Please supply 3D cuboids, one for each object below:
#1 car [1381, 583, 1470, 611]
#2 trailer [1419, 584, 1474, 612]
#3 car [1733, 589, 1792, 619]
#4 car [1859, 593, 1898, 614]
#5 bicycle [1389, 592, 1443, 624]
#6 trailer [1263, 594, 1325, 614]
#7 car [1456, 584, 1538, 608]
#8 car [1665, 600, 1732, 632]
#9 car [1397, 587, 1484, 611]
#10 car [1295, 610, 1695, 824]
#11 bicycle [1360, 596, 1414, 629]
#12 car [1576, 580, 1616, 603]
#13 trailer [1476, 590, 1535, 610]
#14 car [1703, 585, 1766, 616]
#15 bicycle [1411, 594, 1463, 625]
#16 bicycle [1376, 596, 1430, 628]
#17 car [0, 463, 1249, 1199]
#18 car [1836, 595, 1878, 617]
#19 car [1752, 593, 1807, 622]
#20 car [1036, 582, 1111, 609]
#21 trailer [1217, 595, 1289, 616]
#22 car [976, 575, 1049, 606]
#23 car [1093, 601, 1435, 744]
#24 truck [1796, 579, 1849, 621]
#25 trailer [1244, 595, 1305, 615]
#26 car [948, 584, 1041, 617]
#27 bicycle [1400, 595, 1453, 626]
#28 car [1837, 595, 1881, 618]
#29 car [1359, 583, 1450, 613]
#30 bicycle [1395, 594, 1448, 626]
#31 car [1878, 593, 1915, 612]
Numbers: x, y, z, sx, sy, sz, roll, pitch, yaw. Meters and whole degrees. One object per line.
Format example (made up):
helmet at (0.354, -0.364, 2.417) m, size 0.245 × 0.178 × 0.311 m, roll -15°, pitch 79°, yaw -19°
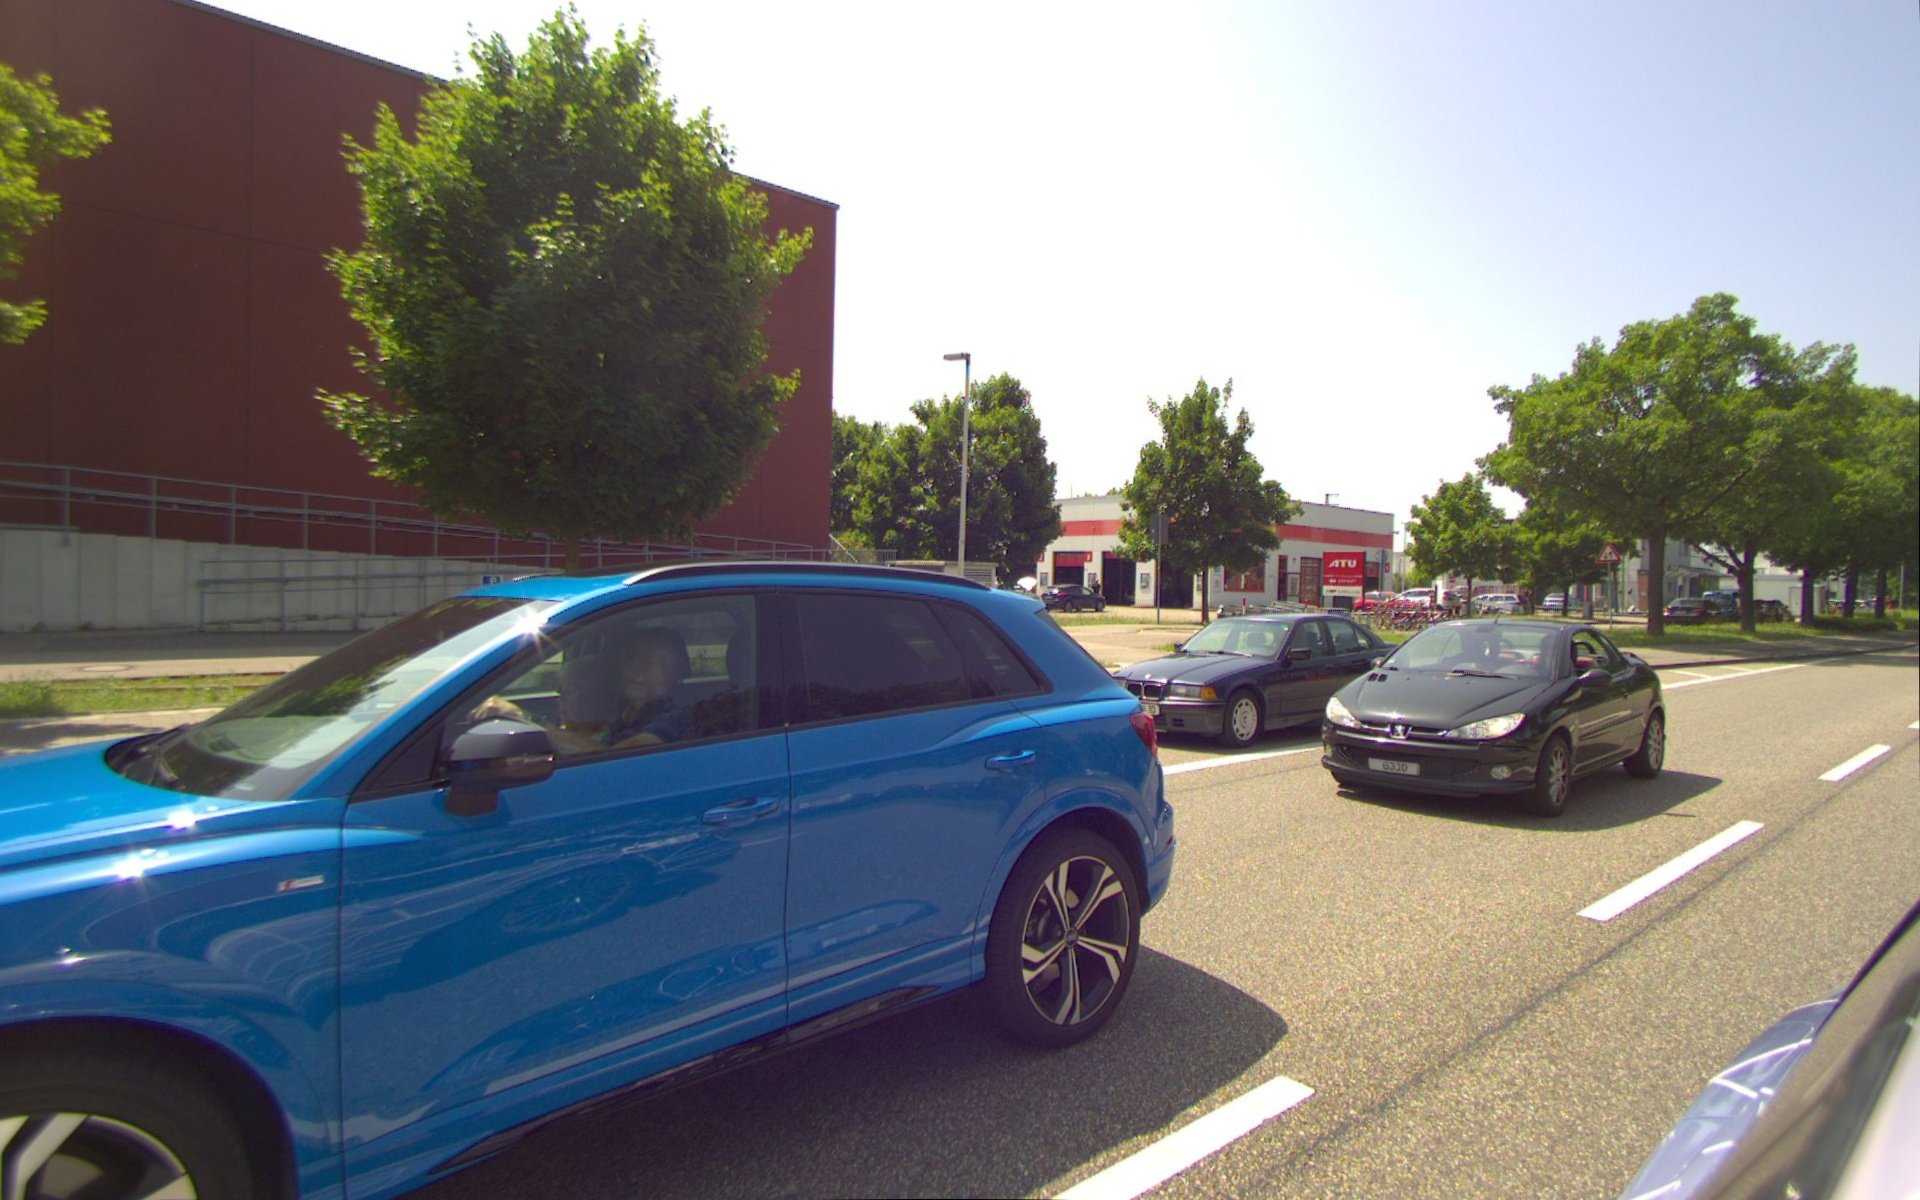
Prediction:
car at (25.012, -0.177, 54.462) m, size 1.718 × 1.419 × 3.992 m, roll 0°, pitch 1°, yaw -43°
trailer at (29.133, -0.121, 60.647) m, size 1.391 × 1.546 × 2.639 m, roll 1°, pitch 1°, yaw -42°
car at (43.146, 0.198, 54.383) m, size 3.929 × 1.539 × 1.719 m, roll 0°, pitch 1°, yaw -40°
car at (71.356, 0.265, 78.624) m, size 3.929 × 1.485 × 1.719 m, roll 0°, pitch 1°, yaw -40°
bicycle at (17.322, 0.294, 38.458) m, size 1.779 × 1.138 × 0.506 m, roll 2°, pitch 1°, yaw 44°
trailer at (14.390, 0.171, 43.688) m, size 1.368 × 0.771 × 2.138 m, roll 0°, pitch 1°, yaw -39°
car at (32.093, -0.230, 60.543) m, size 1.661 × 1.317 × 3.992 m, roll 0°, pitch 1°, yaw -43°
car at (34.531, 0.711, 47.299) m, size 3.929 × 1.388 × 1.641 m, roll 0°, pitch 1°, yaw -40°
car at (26.486, -0.071, 55.889) m, size 1.718 × 1.223 × 3.992 m, roll 0°, pitch 2°, yaw -43°
car at (4.568, 0.765, 8.391) m, size 3.930 × 1.361 × 1.640 m, roll 0°, pitch -1°, yaw -41°
bicycle at (15.961, 0.448, 37.820) m, size 1.779 × 1.138 × 0.506 m, roll 2°, pitch 1°, yaw 44°
car at (46.057, -0.622, 73.231) m, size 1.754 × 1.616 × 3.938 m, roll 2°, pitch 1°, yaw 42°
trailer at (31.391, -0.009, 58.225) m, size 1.551 × 1.065 × 2.639 m, roll 0°, pitch 1°, yaw -42°
car at (39.085, 0.037, 51.056) m, size 3.929 × 1.485 × 1.719 m, roll 0°, pitch 1°, yaw -40°
bicycle at (18.757, 0.369, 39.828) m, size 1.779 × 1.138 × 0.506 m, roll 2°, pitch 1°, yaw 44°
bicycle at (16.674, 0.443, 38.140) m, size 1.779 × 1.138 × 0.506 m, roll 2°, pitch 1°, yaw 44°
car at (-1.101, 0.574, 3.230) m, size 4.323 × 1.616 × 1.841 m, roll 0°, pitch 1°, yaw -41°
car at (65.508, 0.446, 73.855) m, size 3.929 × 1.485 × 1.719 m, roll 0°, pitch 1°, yaw -40°
car at (47.297, 0.425, 58.383) m, size 3.929 × 1.532 × 1.719 m, roll 0°, pitch 1°, yaw -40°
car at (6.214, -0.224, 55.153) m, size 4.073 × 1.390 × 1.716 m, roll 0°, pitch 2°, yaw -41°
trailer at (11.911, 0.214, 41.222) m, size 1.423 × 0.771 × 2.467 m, roll 0°, pitch 1°, yaw -39°
car at (3.022, -0.517, 57.817) m, size 4.073 × 1.683 × 1.716 m, roll 0°, pitch 2°, yaw -41°
car at (3.596, 0.718, 11.715) m, size 4.066 × 1.388 × 1.643 m, roll 0°, pitch -1°, yaw -35°
truck at (56.221, -0.002, 65.964) m, size 3.928 × 2.599 × 1.904 m, roll 1°, pitch 1°, yaw -39°
trailer at (13.204, 0.192, 42.549) m, size 1.244 × 0.771 × 2.138 m, roll 0°, pitch 1°, yaw -39°
car at (1.510, 0.006, 43.637) m, size 3.903 × 1.329 × 1.652 m, roll 0°, pitch 2°, yaw -41°
bicycle at (18.188, 0.385, 39.470) m, size 1.779 × 1.138 × 0.506 m, roll 2°, pitch 1°, yaw 44°
car at (61.388, 0.452, 69.095) m, size 3.929 × 1.485 × 1.719 m, roll 0°, pitch 1°, yaw -40°
car at (23.239, -0.121, 53.029) m, size 1.717 × 1.419 × 3.993 m, roll 1°, pitch 1°, yaw -42°
bicycle at (17.771, 0.380, 38.976) m, size 1.779 × 1.138 × 0.506 m, roll 2°, pitch 1°, yaw 44°
car at (76.347, 0.201, 82.505) m, size 3.929 × 1.485 × 1.719 m, roll 0°, pitch 1°, yaw -40°
